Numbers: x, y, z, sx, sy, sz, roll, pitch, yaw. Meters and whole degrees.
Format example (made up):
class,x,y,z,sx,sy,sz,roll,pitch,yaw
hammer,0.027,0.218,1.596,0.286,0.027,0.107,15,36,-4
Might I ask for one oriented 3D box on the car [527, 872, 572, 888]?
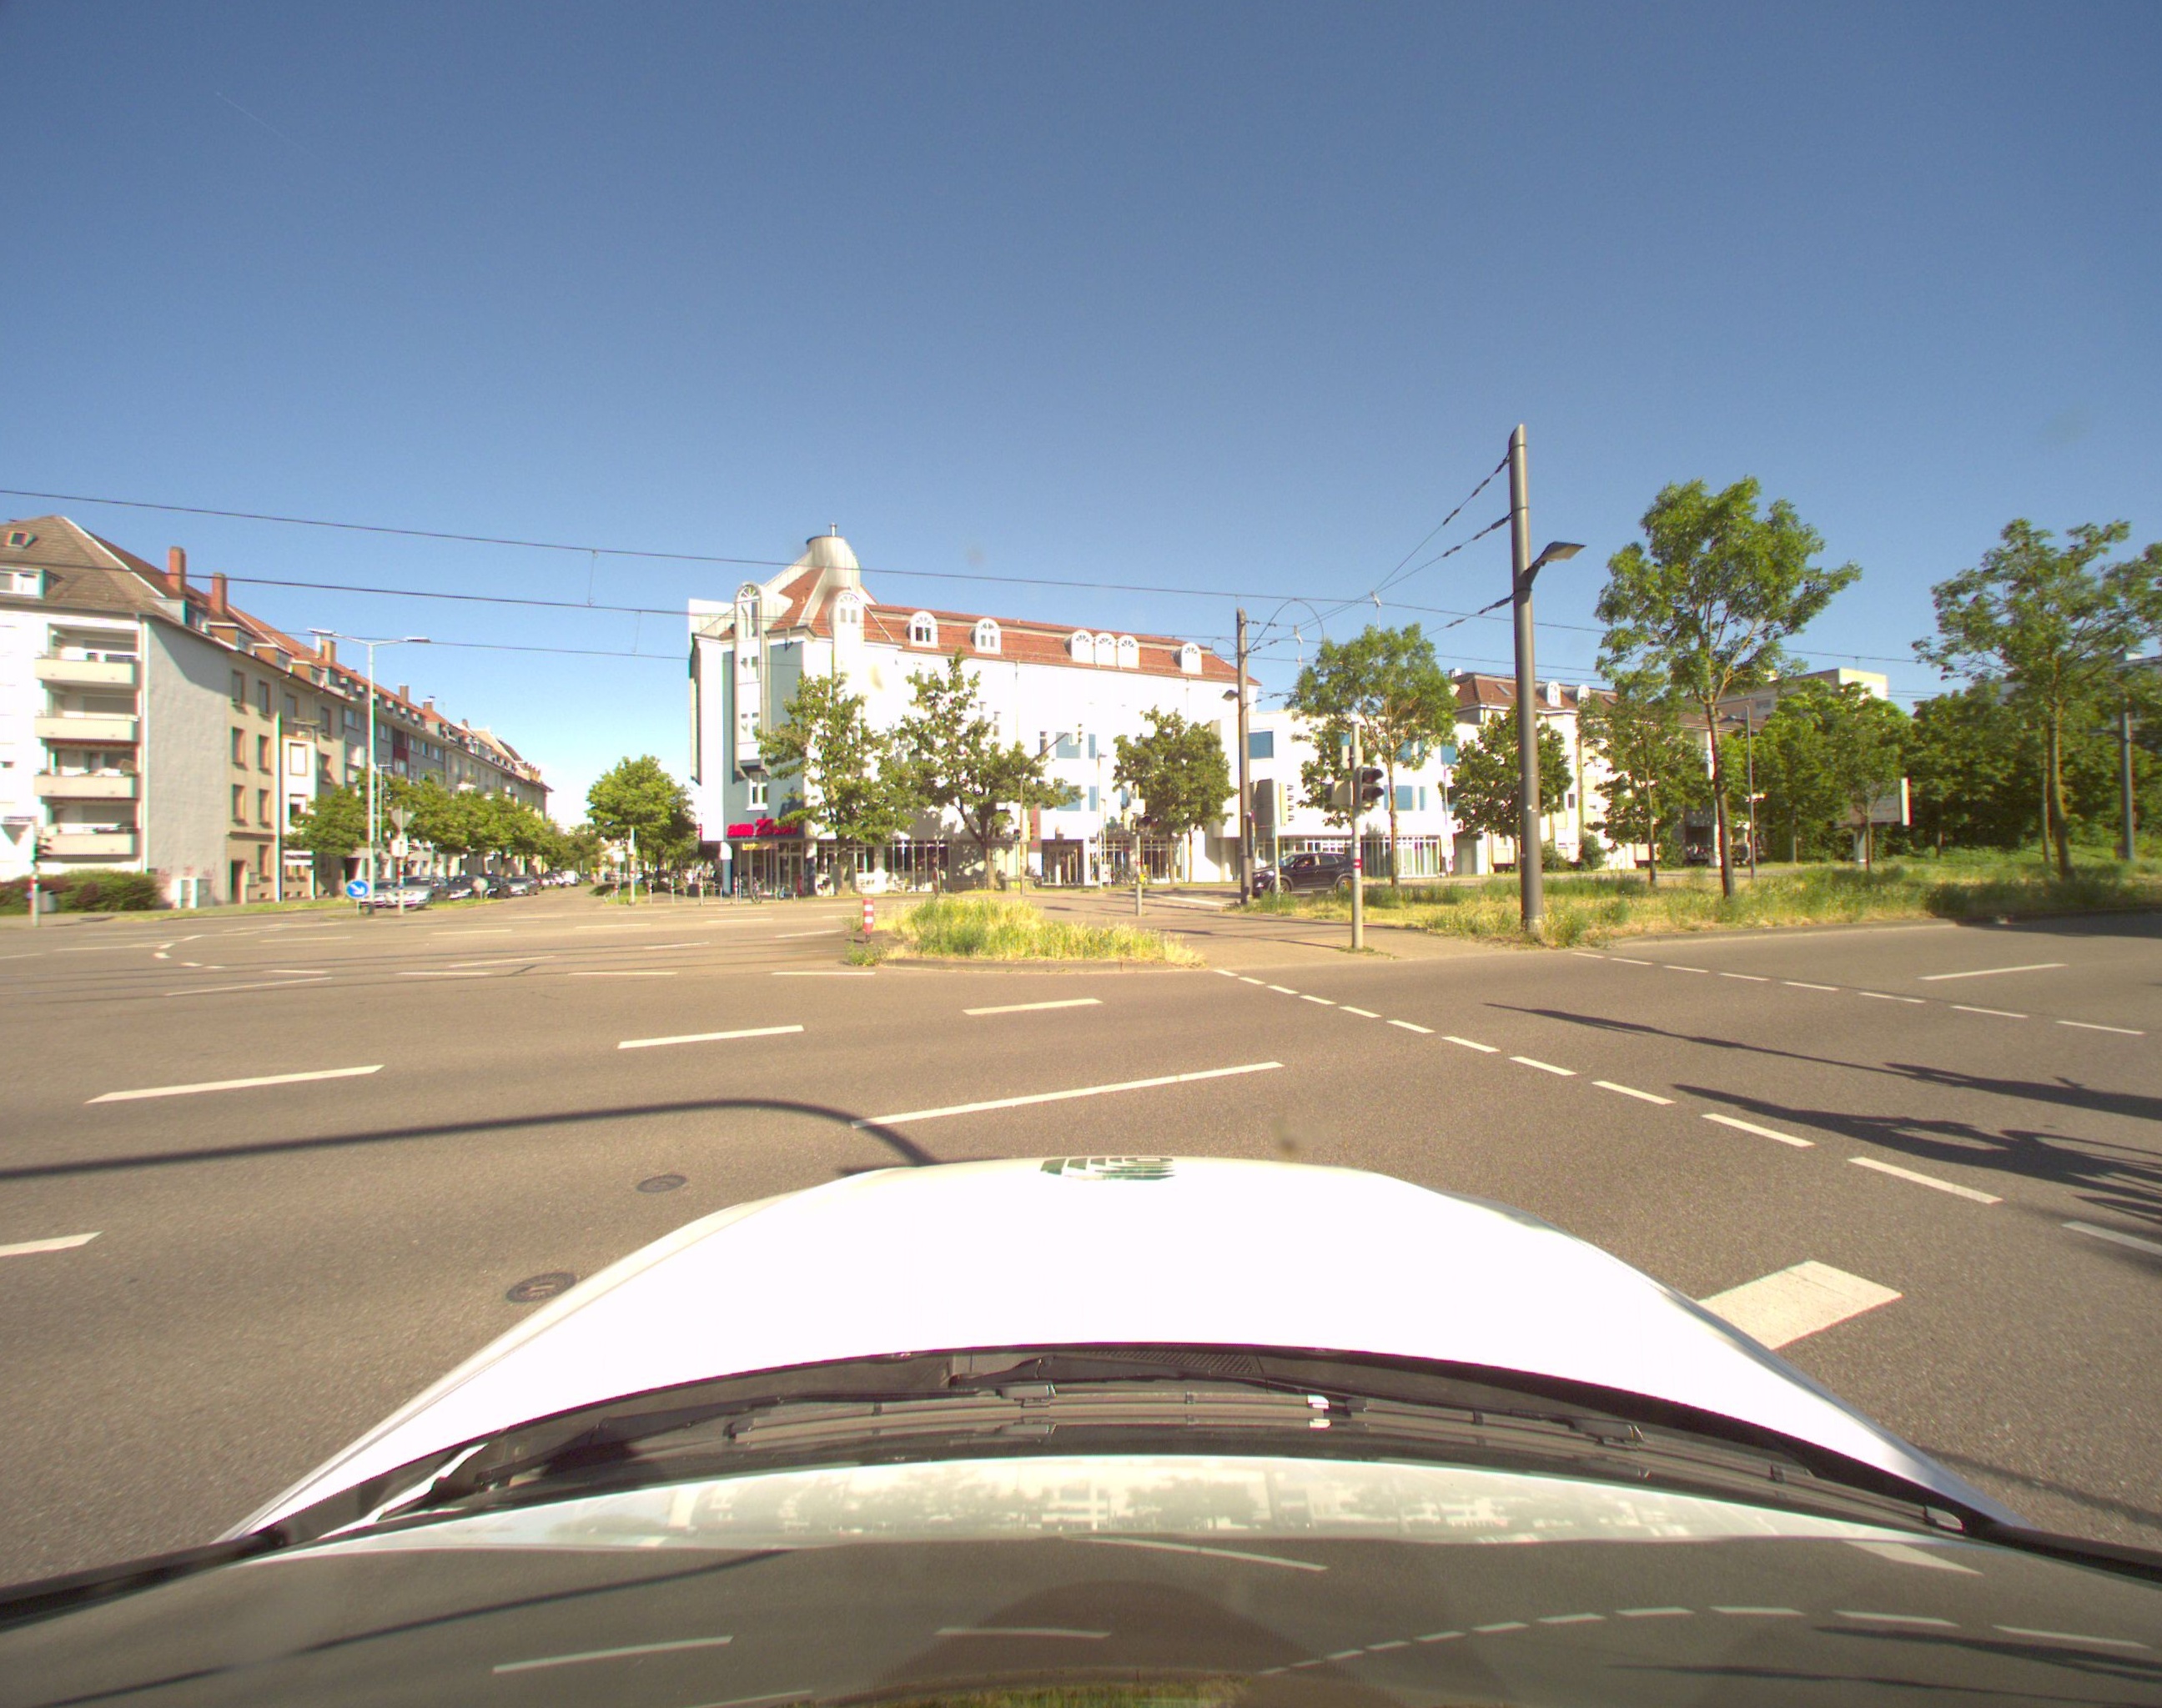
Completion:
class,x,y,z,sx,sy,sz,roll,pitch,yaw
car,-65.965,3.232,101.187,4.530,2.014,1.982,0,-2,-27

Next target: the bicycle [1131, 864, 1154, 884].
class,x,y,z,sx,sy,sz,roll,pitch,yaw
bicycle,3.732,1.207,49.543,0.563,1.182,1.855,-1,-1,-23

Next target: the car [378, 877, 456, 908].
class,x,y,z,sx,sy,sz,roll,pitch,yaw
car,-33.033,1.901,40.680,1.694,1.432,4.367,2,-2,-21

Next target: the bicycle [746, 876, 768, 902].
class,x,y,z,sx,sy,sz,roll,pitch,yaw
bicycle,-13.337,1.435,33.494,0.475,1.027,1.499,-1,-1,-35

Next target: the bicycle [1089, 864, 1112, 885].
class,x,y,z,sx,sy,sz,roll,pitch,yaw
bicycle,1.156,1.206,48.476,0.563,1.182,1.854,-1,-1,-26

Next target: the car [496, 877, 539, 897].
class,x,y,z,sx,sy,sz,roll,pitch,yaw
car,-41.391,2.421,59.914,1.695,1.432,4.366,2,-2,-23

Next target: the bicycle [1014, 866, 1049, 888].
class,x,y,z,sx,sy,sz,roll,pitch,yaw
bicycle,-2.768,1.272,45.391,1.875,1.182,0.557,-1,-1,-29

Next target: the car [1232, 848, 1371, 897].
class,x,y,z,sx,sy,sz,roll,pitch,yaw
car,8.013,0.660,29.684,4.509,1.609,1.989,-1,-1,-16

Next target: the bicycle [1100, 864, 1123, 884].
class,x,y,z,sx,sy,sz,roll,pitch,yaw
bicycle,1.852,1.213,49.134,0.563,1.182,1.854,-1,-1,-26

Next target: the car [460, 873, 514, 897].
class,x,y,z,sx,sy,sz,roll,pitch,yaw
car,-37.922,1.964,52.057,1.694,1.432,4.367,2,-2,-22

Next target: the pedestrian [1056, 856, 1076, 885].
class,x,y,z,sx,sy,sz,roll,pitch,yaw
pedestrian,-0.882,0.980,48.963,0.995,1.723,0.648,-1,-1,-26

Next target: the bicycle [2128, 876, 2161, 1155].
class,x,y,z,sx,sy,sz,roll,pitch,yaw
bicycle,5.368,0.768,2.944,0.784,1.348,2.086,-2,-1,14

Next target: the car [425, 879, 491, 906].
class,x,y,z,sx,sy,sz,roll,pitch,yaw
car,-35.524,2.176,46.564,1.694,1.432,4.369,2,-2,-20

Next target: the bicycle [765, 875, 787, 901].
class,x,y,z,sx,sy,sz,roll,pitch,yaw
bicycle,-12.842,1.426,34.289,0.475,1.027,1.499,-1,-1,-36

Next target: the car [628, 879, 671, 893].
class,x,y,z,sx,sy,sz,roll,pitch,yaw
car,-41.599,3.086,78.615,3.585,1.223,1.716,0,-2,-26

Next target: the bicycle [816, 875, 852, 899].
class,x,y,z,sx,sy,sz,roll,pitch,yaw
bicycle,-11.197,1.485,36.942,1.513,1.027,0.471,-1,-1,-14

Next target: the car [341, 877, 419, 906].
class,x,y,z,sx,sy,sz,roll,pitch,yaw
car,-36.377,1.921,42.410,1.694,1.432,4.367,2,-2,-22
